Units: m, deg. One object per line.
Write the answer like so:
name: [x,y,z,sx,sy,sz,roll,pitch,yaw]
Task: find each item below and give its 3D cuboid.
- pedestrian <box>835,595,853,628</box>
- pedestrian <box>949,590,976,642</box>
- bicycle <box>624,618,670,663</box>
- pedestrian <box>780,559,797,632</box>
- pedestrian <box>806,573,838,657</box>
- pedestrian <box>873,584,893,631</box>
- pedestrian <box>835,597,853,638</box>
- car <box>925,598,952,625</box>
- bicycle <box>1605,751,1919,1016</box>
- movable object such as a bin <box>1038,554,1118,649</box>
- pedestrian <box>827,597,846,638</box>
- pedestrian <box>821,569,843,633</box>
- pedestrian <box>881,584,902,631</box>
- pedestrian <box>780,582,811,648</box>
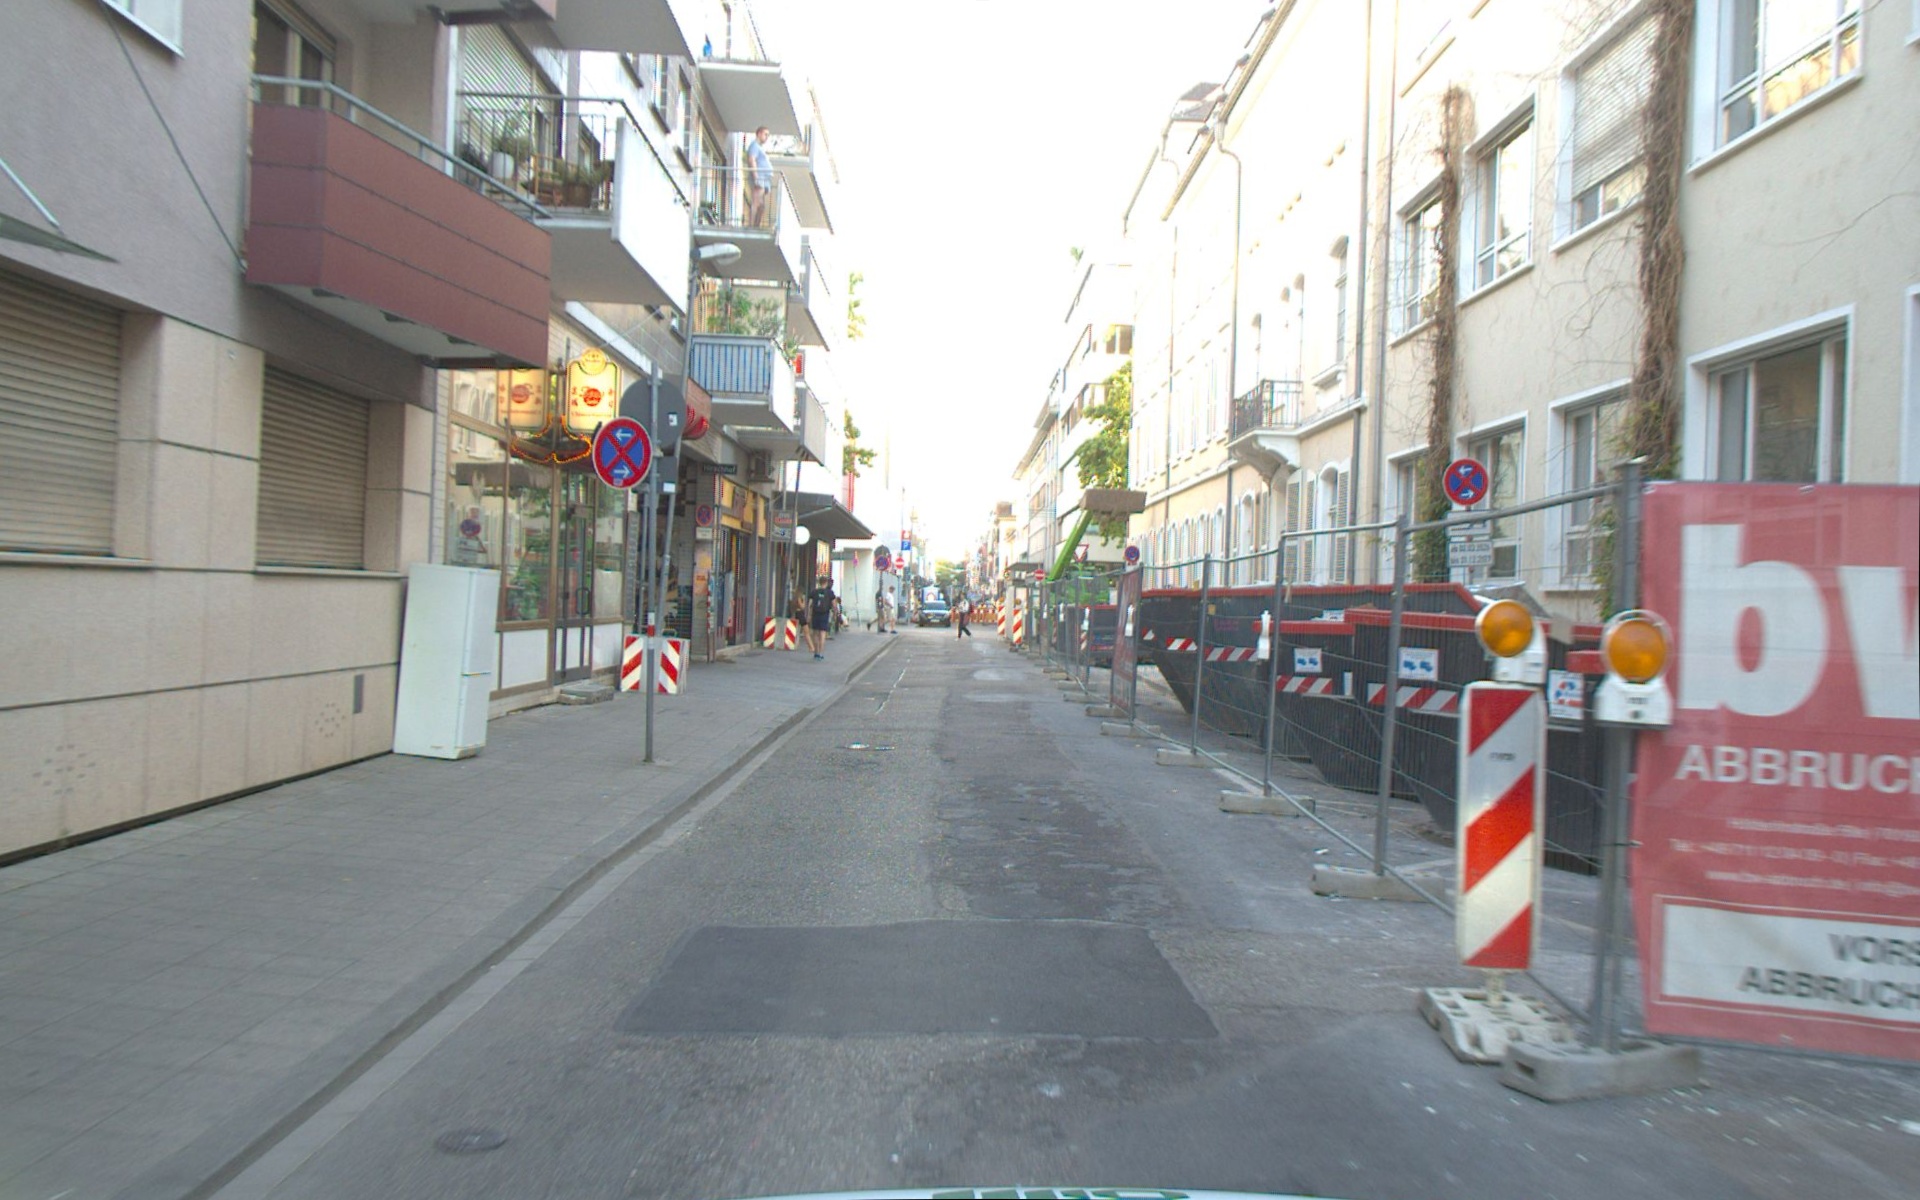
pedestrian: [-4.297,0.432,61.268,0.605,1.192,0.787,2,0,-2]
pedestrian: [0.083,0.556,58.099,0.638,1.770,0.716,2,0,-28]
bicycle: [-5.826,0.744,30.827,0.511,0.774,1.747,2,0,0]
pedestrian: [-4.862,-0.137,47.034,0.402,2.049,0.453,2,0,-3]
pedestrian: [-3.091,0.330,37.098,0.616,1.840,0.647,2,0,1]
pedestrian: [-3.056,0.291,65.791,0.635,1.841,0.628,2,0,-17]
pedestrian: [-4.079,0.618,58.214,0.531,1.412,0.625,2,0,0]
car: [-1.166,0.628,90.852,1.444,1.422,3.331,2,0,-1]
bicycle: [3.514,1.168,6.915,1.458,0.913,0.396,3,1,28]
movable object such as a bin: [4.197,0.007,59.476,2.420,3.185,4.297,3,1,-1]
pedestrian: [-4.260,0.603,57.204,0.546,1.415,0.892,1,0,-1]
pedestrian: [-3.883,0.032,50.216,0.560,1.919,0.656,2,0,0]
pedestrian: [-2.695,0.292,64.875,0.635,1.841,0.628,2,0,-17]
pedestrian: [-4.052,0.367,40.695,0.635,1.592,0.628,2,0,-16]
